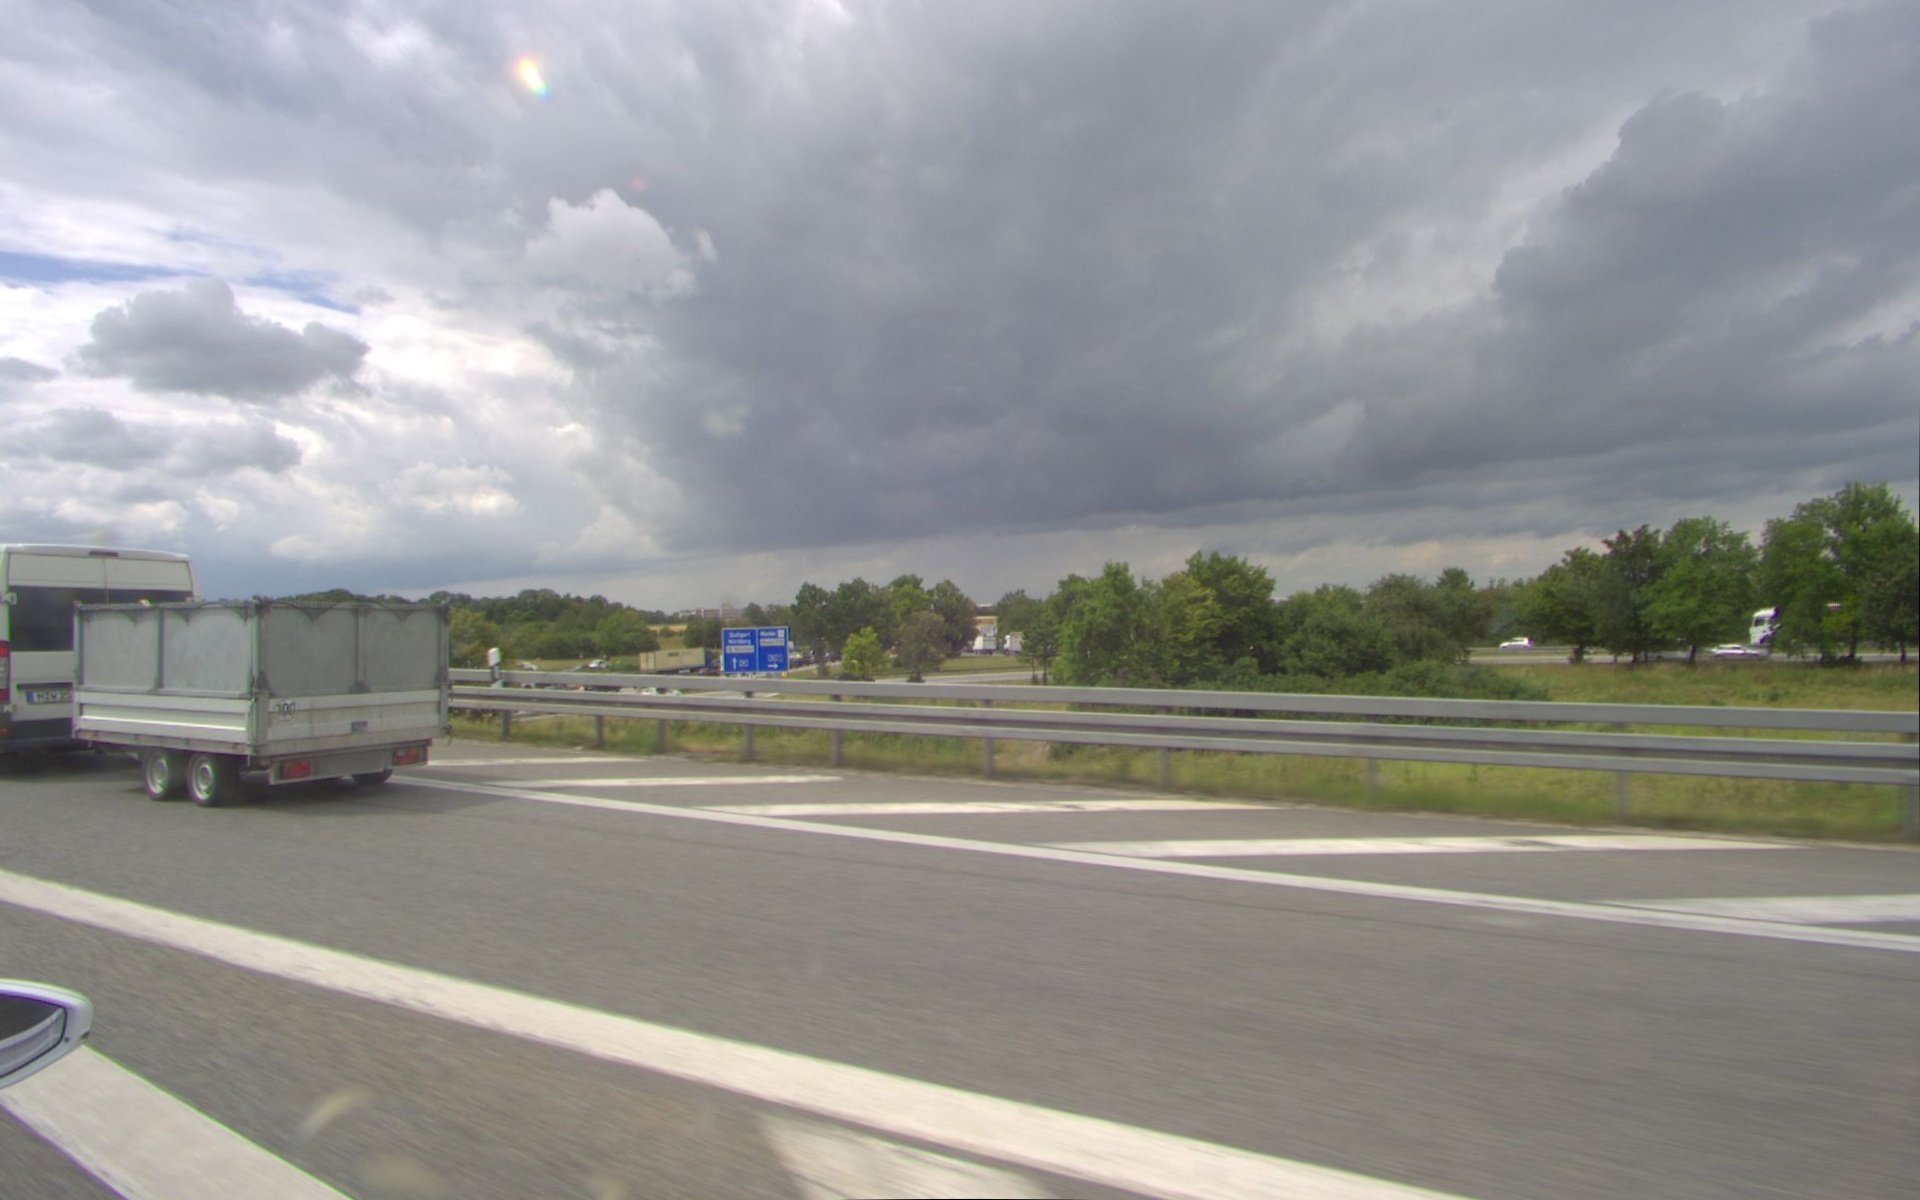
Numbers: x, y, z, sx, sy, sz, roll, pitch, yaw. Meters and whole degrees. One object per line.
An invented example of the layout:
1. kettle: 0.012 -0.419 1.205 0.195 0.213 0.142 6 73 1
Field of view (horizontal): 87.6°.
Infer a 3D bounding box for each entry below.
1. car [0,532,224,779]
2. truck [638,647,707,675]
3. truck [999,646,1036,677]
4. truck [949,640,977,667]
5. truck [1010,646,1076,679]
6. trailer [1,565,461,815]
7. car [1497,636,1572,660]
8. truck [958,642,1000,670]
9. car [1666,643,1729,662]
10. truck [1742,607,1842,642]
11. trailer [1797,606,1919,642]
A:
1. car: -11.930 0.637 12.334 6.054 2.485 2.114 -1 -2 27
2. truck: -43.020 9.083 150.529 3.252 3.985 13.727 0 -3 16
3. truck: 10.142 10.763 176.418 3.799 5.380 6.421 0 -2 -26
4. truck: 0.539 10.802 202.103 3.792 5.380 6.433 0 -2 -19
5. truck: 13.880 10.442 169.275 3.804 5.281 14.792 1 -2 -28
6. trailer: -7.345 0.799 10.029 4.558 2.039 1.855 -1 -2 27
7. car: 66.017 5.465 115.197 2.735 2.602 7.032 1 -2 -40
8. truck: 3.597 10.653 193.595 3.884 5.104 12.976 0 -2 -19
9. car: 68.440 4.880 92.998 2.011 1.674 4.316 2 -3 -38
10. truck: 81.095 2.461 97.740 3.150 3.308 6.909 1 -2 -28
11. trailer: 84.396 2.190 91.117 3.214 3.169 12.510 1 -2 -25
